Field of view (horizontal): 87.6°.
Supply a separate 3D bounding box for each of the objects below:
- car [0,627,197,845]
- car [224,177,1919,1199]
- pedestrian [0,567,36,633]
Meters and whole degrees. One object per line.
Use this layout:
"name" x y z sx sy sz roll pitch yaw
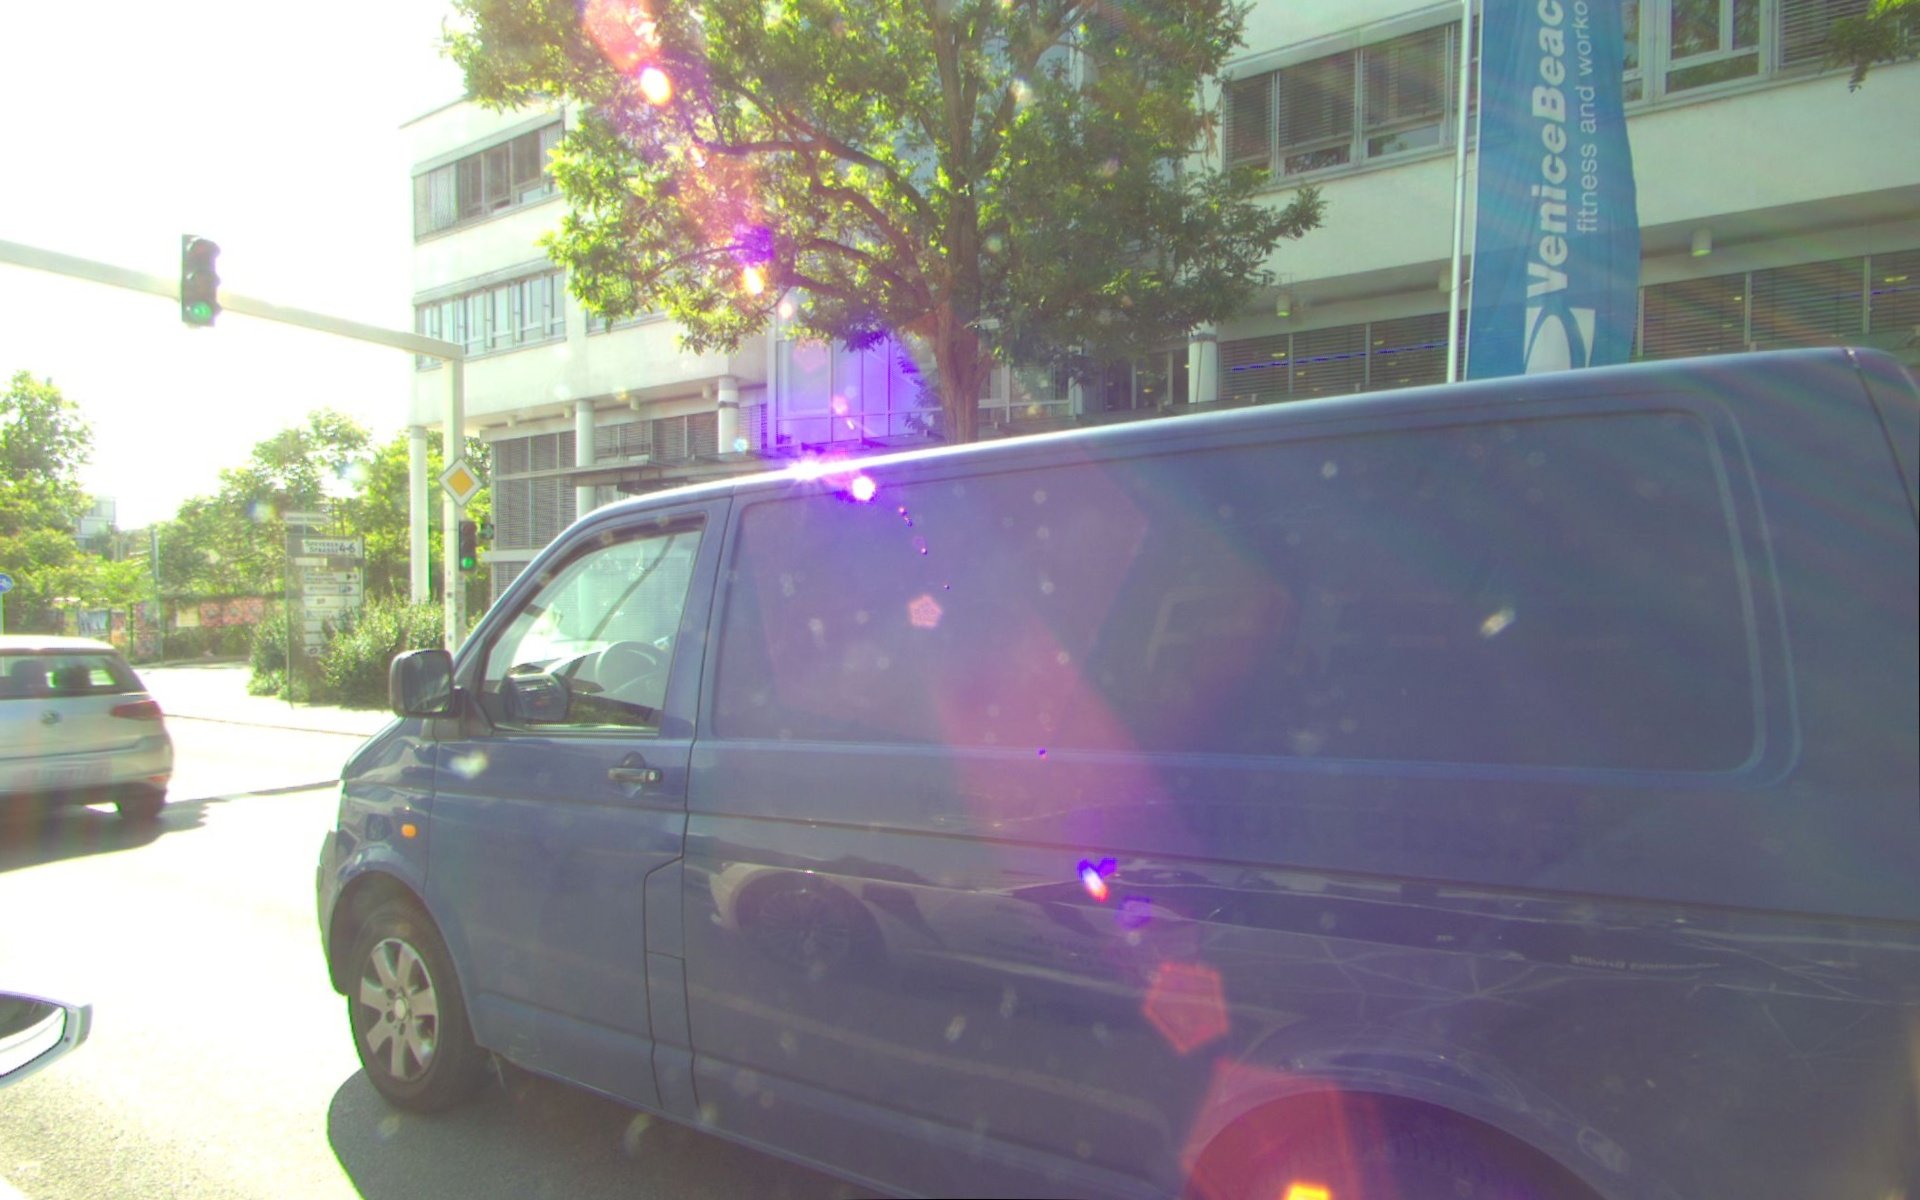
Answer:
"car" -8.034 0.974 8.008 3.943 1.448 1.804 -1 -1 32
"car" -0.049 0.537 3.123 4.821 1.973 1.989 -1 -1 32
"pedestrian" -30.050 0.017 31.634 1.023 2.040 1.025 0 0 32
